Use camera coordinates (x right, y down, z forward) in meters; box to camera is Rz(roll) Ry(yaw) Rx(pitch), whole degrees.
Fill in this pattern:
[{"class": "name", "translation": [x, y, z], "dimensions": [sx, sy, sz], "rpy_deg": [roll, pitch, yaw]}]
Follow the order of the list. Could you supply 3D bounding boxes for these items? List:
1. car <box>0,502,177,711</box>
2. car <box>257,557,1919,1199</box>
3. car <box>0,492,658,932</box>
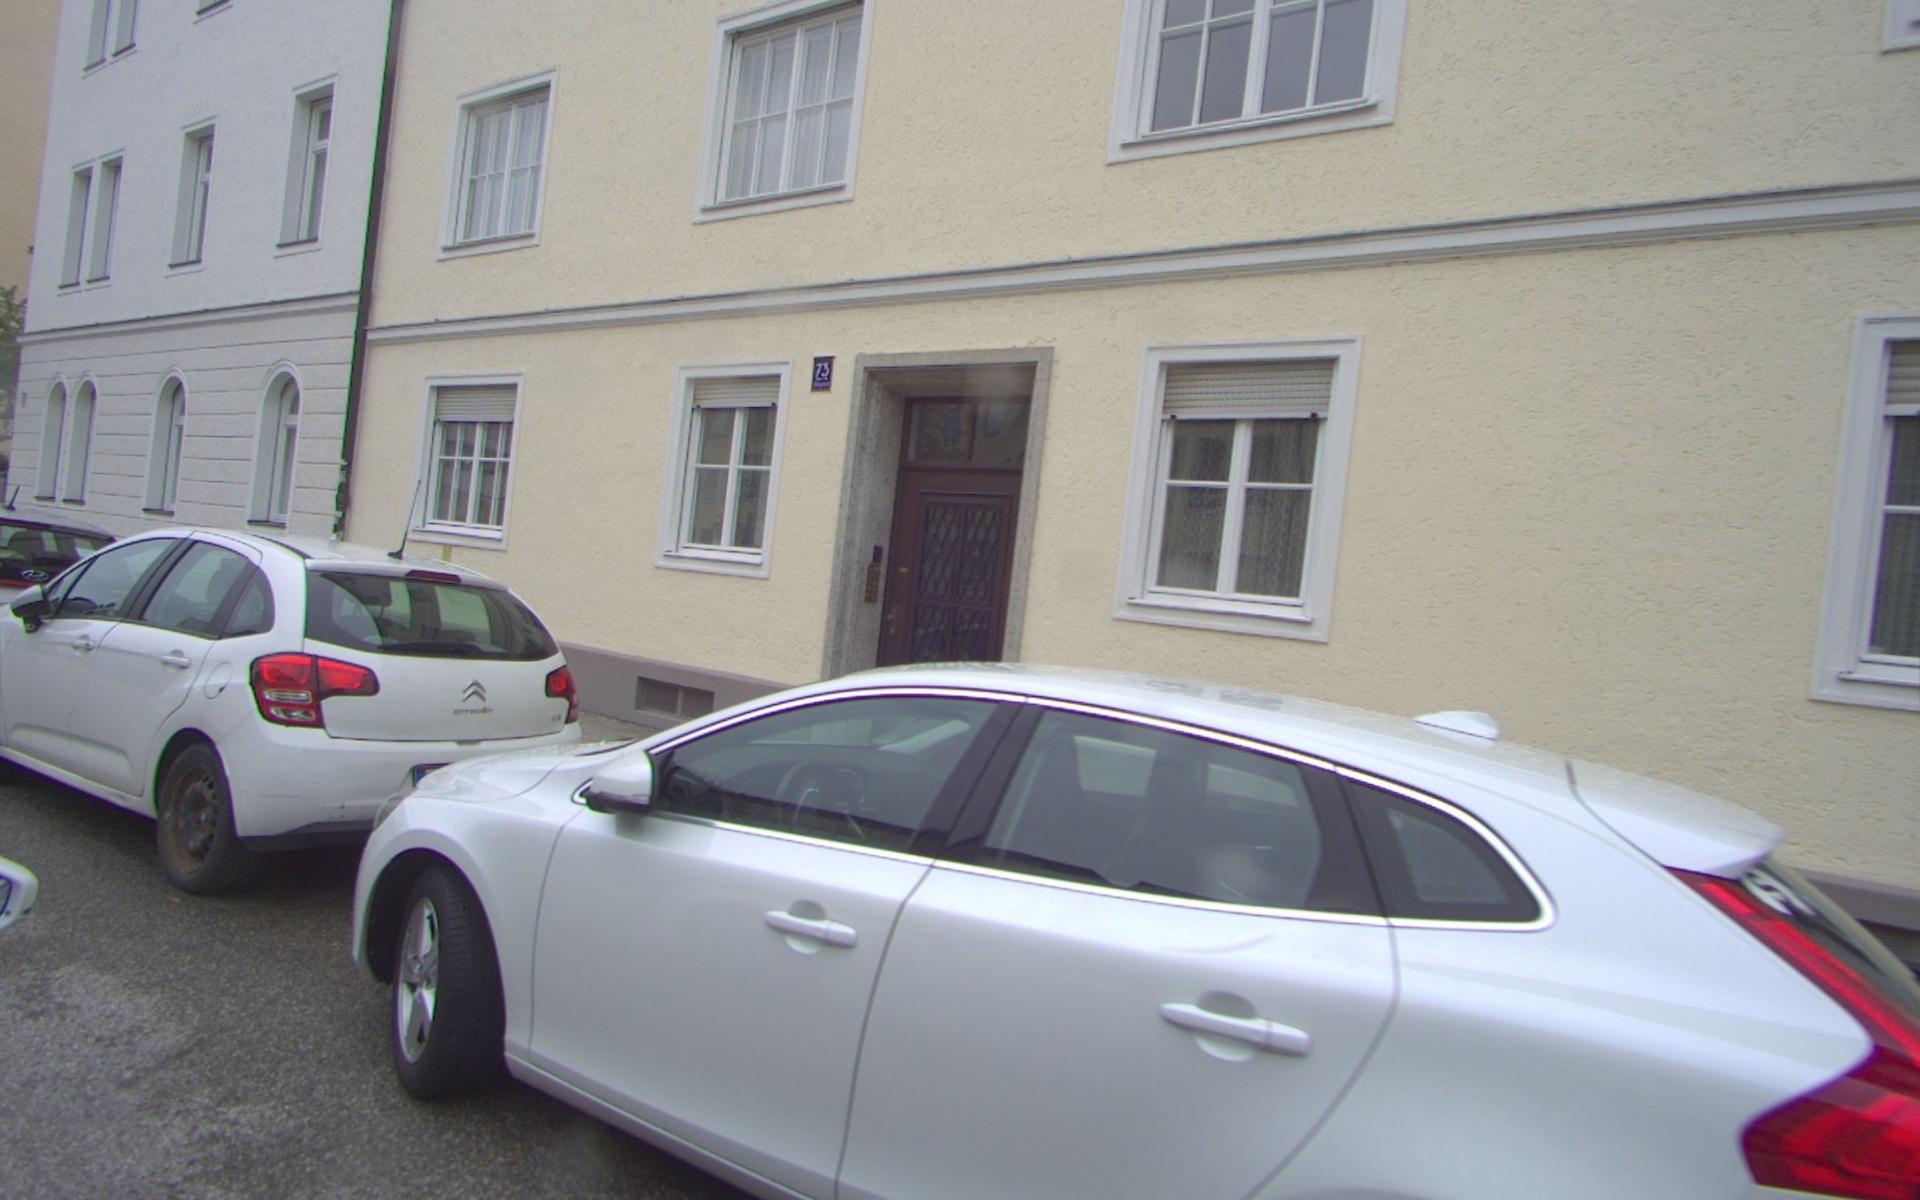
[{"class": "car", "translation": [-8.319, -0.131, 8.104], "dimensions": [4.096, 1.444, 1.682], "rpy_deg": [6, -1, 30]}, {"class": "car", "translation": [0.167, 0.850, 2.737], "dimensions": [4.368, 1.427, 1.682], "rpy_deg": [6, -1, 31]}, {"class": "car", "translation": [-3.802, 0.349, 5.463], "dimensions": [4.096, 1.499, 1.682], "rpy_deg": [6, -1, 30]}]
